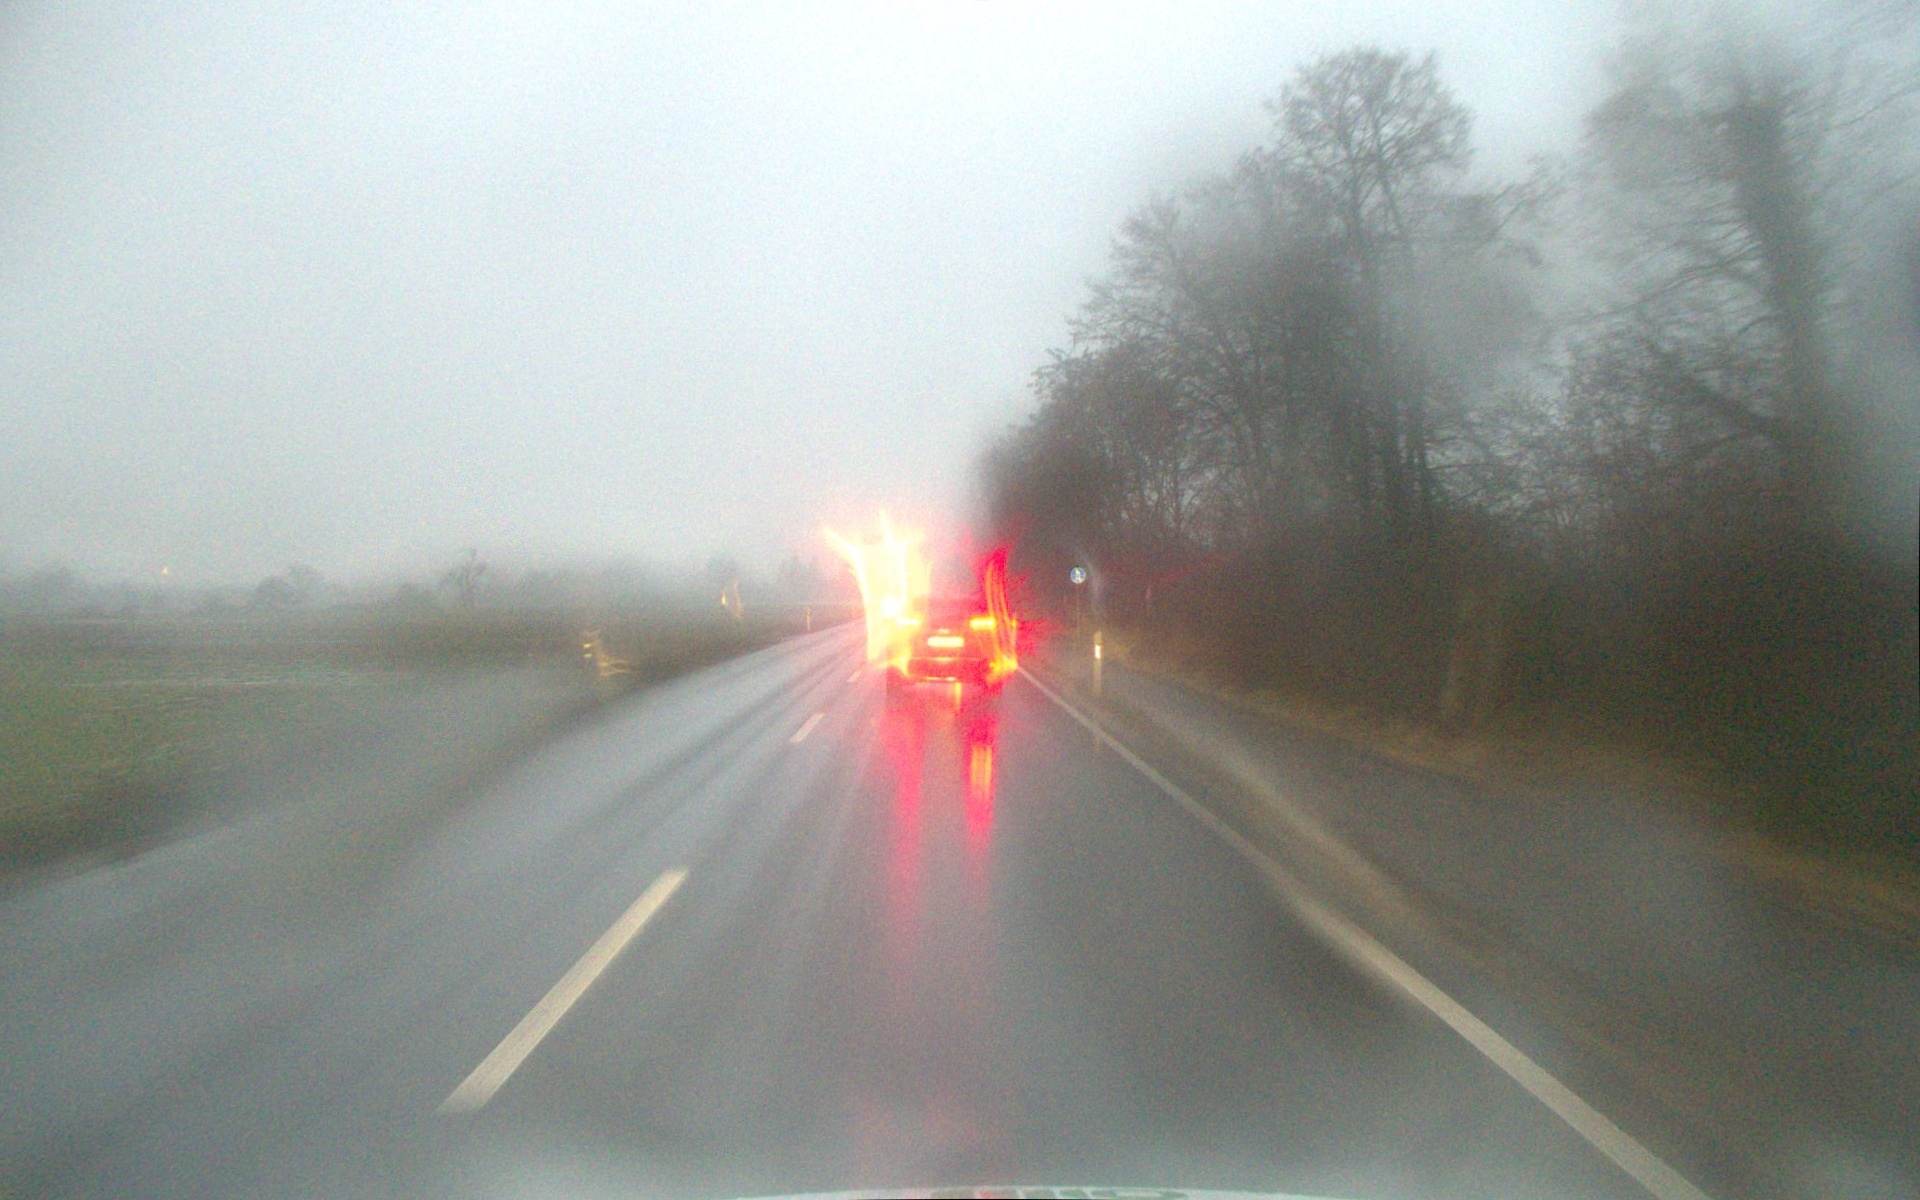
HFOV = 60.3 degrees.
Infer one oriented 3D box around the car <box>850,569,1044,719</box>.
[{"bbox_3d":[-0.212,0.641,26.678,2.763,2.113,5.803,1,0,-1],"label":"car"}]
